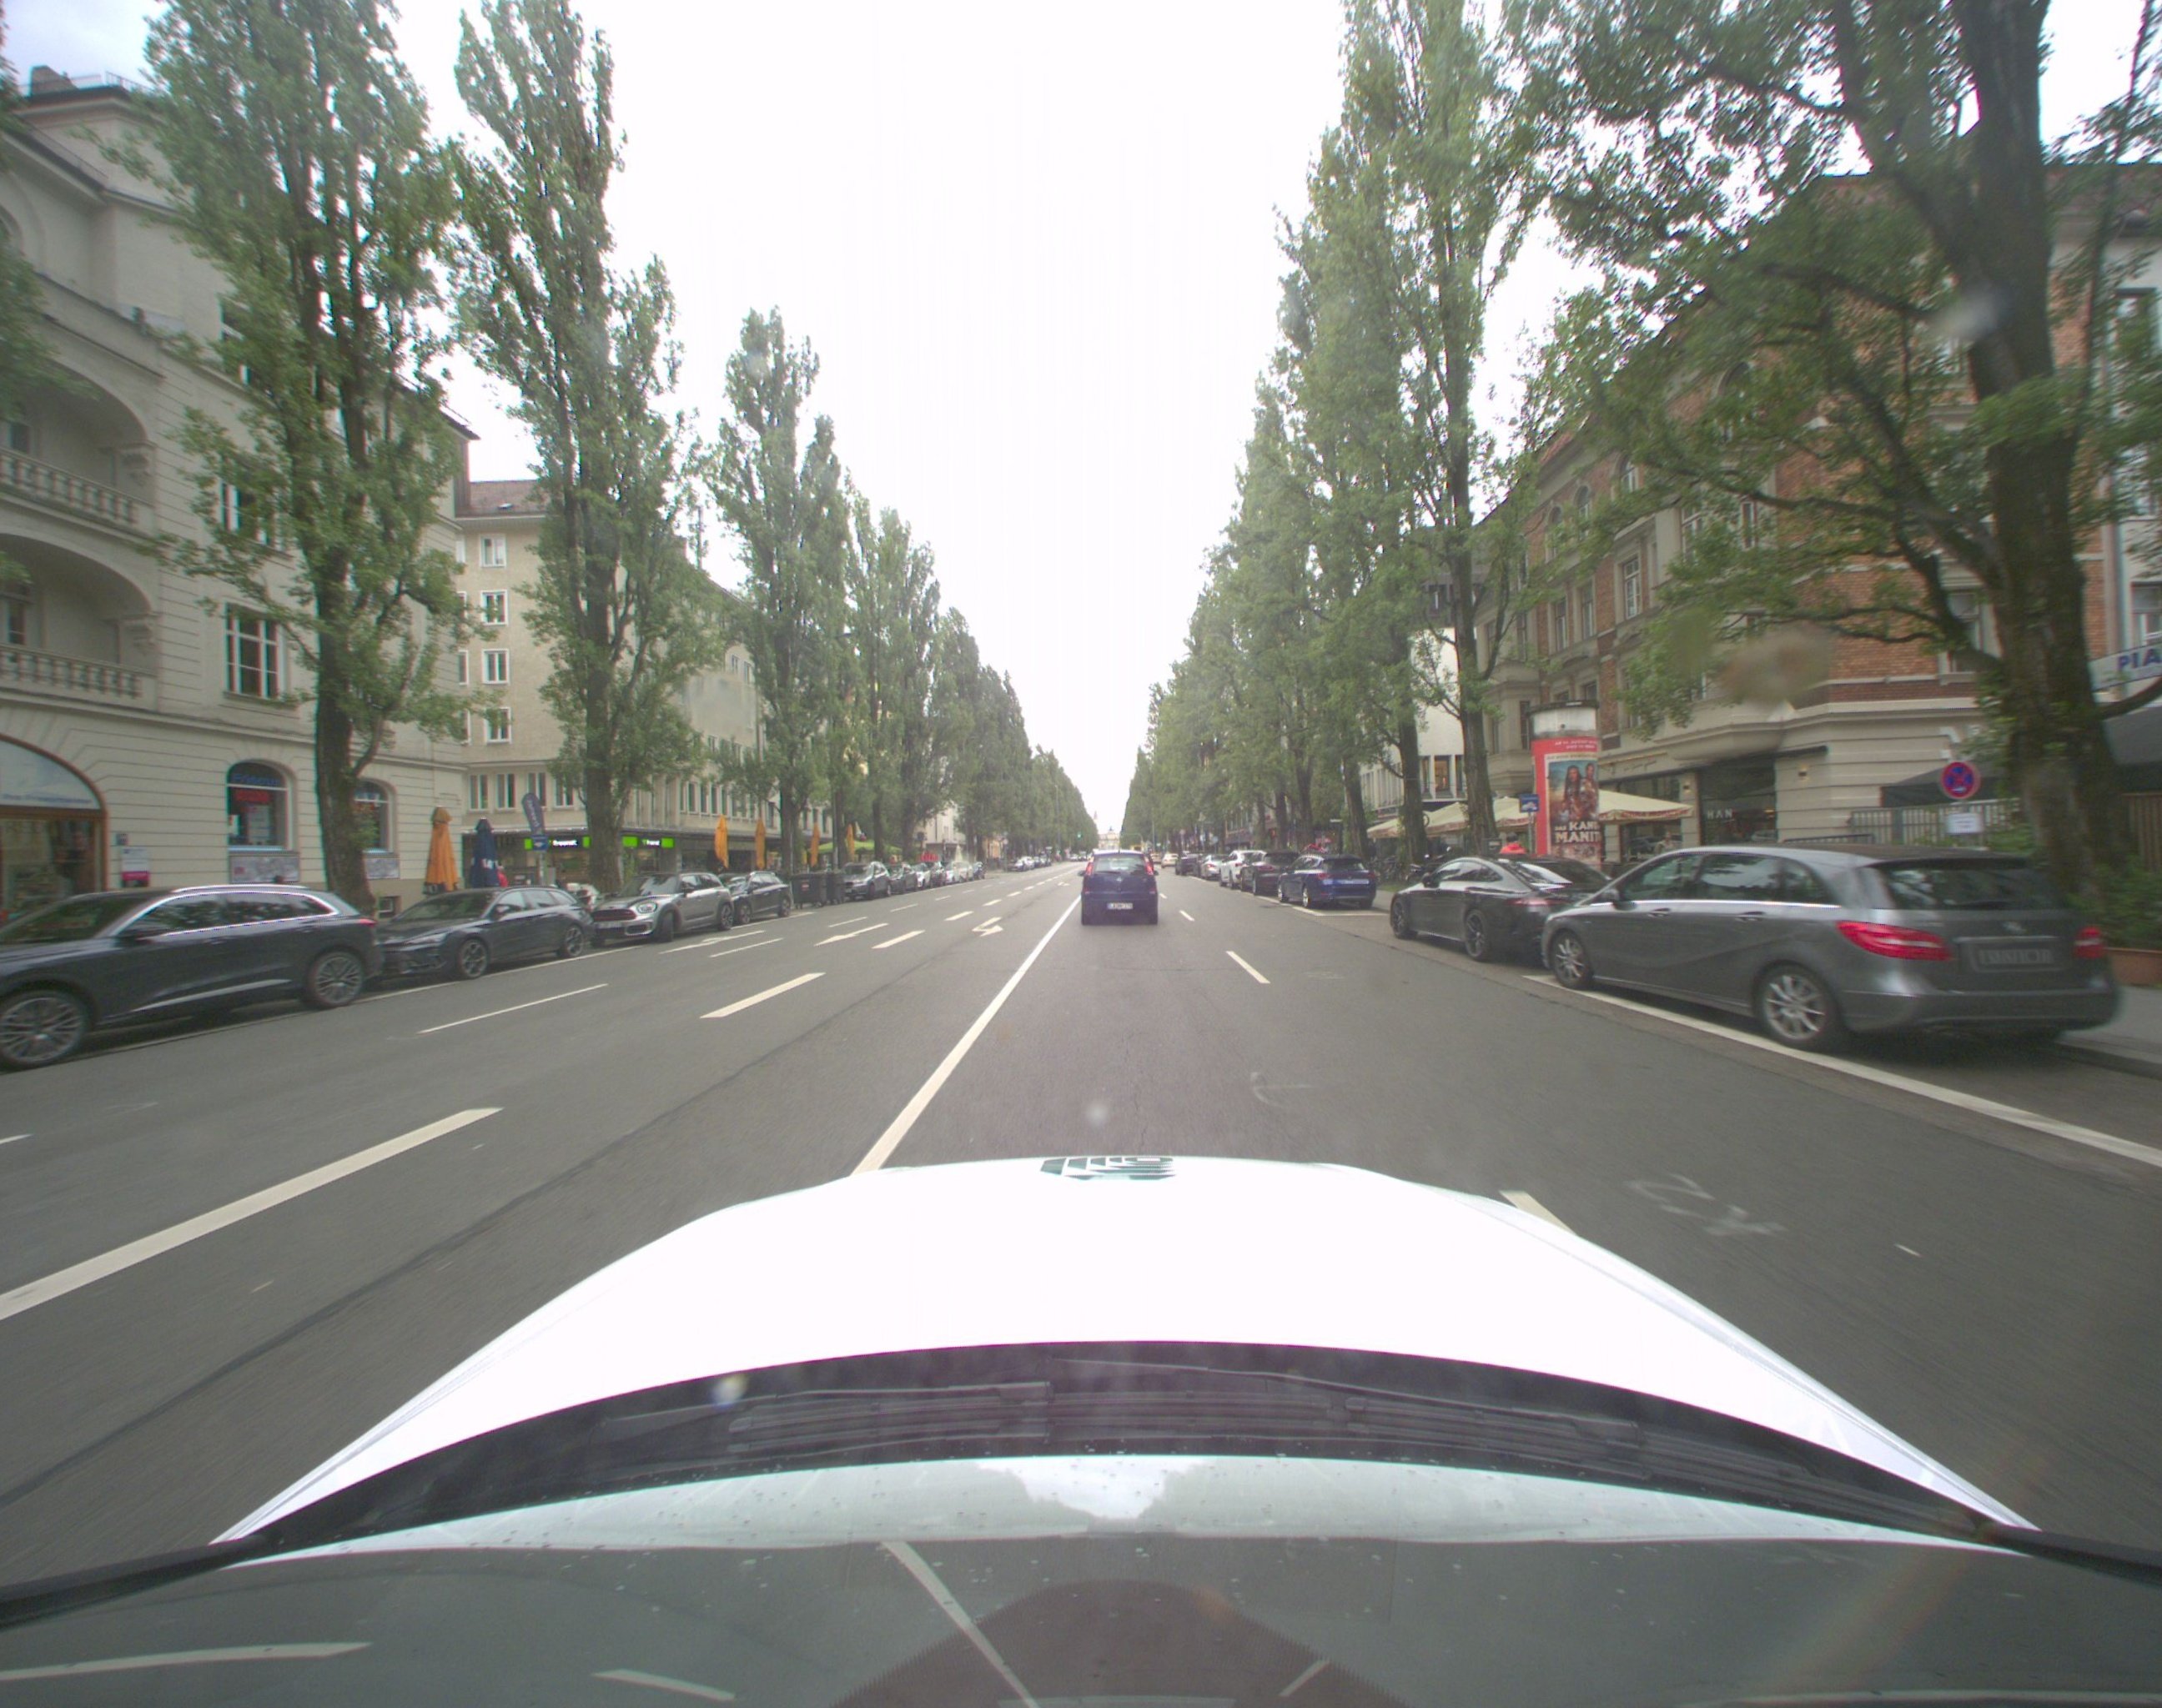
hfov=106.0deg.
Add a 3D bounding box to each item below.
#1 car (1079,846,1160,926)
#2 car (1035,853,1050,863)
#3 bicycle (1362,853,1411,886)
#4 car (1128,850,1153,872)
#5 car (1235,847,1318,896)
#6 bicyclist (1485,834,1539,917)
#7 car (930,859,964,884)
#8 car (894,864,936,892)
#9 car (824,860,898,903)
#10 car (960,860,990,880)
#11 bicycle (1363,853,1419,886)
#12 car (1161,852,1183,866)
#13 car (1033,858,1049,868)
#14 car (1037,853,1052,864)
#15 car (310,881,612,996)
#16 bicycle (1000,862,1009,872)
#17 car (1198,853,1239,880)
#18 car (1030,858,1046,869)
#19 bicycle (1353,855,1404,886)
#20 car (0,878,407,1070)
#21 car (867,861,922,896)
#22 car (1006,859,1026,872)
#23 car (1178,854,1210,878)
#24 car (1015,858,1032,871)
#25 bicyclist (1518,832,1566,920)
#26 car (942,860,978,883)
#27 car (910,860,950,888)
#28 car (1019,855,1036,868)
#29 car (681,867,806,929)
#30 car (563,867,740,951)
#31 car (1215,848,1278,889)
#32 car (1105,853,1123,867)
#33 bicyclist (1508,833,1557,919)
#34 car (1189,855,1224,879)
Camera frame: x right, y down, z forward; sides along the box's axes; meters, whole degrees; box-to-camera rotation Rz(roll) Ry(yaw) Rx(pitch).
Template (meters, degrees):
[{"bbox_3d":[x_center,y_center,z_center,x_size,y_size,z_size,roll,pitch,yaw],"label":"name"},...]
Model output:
[{"bbox_3d":[0.852,0.671,19.007,1.675,1.641,4.001,-1,0,1],"label":"car"},{"bbox_3d":[-5.807,0.611,123.812,1.954,1.549,3.780,-2,0,1],"label":"car"},{"bbox_3d":[11.672,0.577,31.163,1.707,1.192,0.420,-2,0,-3],"label":"bicycle"},{"bbox_3d":[4.381,0.536,60.537,1.700,1.574,4.001,-1,0,2],"label":"car"},{"bbox_3d":[6.962,0.574,29.517,1.986,1.565,4.485,-2,0,1],"label":"car"},{"bbox_3d":[8.592,0.417,16.256,0.619,1.588,0.753,-2,0,1],"label":"bicyclist"},{"bbox_3d":[-8.897,1.130,54.214,1.566,1.534,2.926,-2,0,4],"label":"car"},{"bbox_3d":[-9.284,1.300,45.710,1.625,1.428,2.984,-2,0,1],"label":"car"},{"bbox_3d":[-9.706,1.178,36.325,1.858,1.654,4.616,-4,0,1],"label":"car"},{"bbox_3d":[-8.216,1.201,63.446,1.579,1.447,3.395,-2,0,4],"label":"car"},{"bbox_3d":[11.670,0.574,30.640,1.865,1.192,0.575,-2,0,-3],"label":"bicycle"},{"bbox_3d":[9.156,0.481,82.023,1.890,1.362,3.902,-2,0,2],"label":"car"},{"bbox_3d":[-5.882,1.336,119.488,1.954,1.399,3.780,-2,0,1],"label":"car"},{"bbox_3d":[-5.830,0.734,130.365,1.986,1.662,4.001,-2,0,1],"label":"car"},{"bbox_3d":[-10.418,1.306,14.264,1.680,1.424,4.685,-4,0,-1],"label":"car"},{"bbox_3d":[-7.994,1.334,85.093,0.664,1.006,2.461,-2,0,-1],"label":"bicycle"},{"bbox_3d":[7.558,0.663,45.038,1.664,1.406,4.128,0,0,1],"label":"car"},{"bbox_3d":[-5.944,1.311,113.690,1.955,1.530,4.000,-2,0,1],"label":"car"},{"bbox_3d":[11.536,0.624,31.603,1.826,1.139,0.370,-2,0,-4],"label":"bicycle"},{"bbox_3d":[-10.469,1.178,9.066,1.795,1.594,4.635,-3,0,4],"label":"car"},{"bbox_3d":[-9.352,1.202,41.095,1.691,1.550,4.083,-2,0,1],"label":"car"},{"bbox_3d":[-7.224,1.262,90.743,1.823,1.420,3.813,-2,0,2],"label":"car"},{"bbox_3d":[7.598,0.775,54.963,1.790,1.594,4.107,0,0,2],"label":"car"},{"bbox_3d":[-6.812,1.193,96.971,1.541,1.453,3.459,-2,0,2],"label":"car"},{"bbox_3d":[8.563,0.410,15.139,0.619,1.588,0.391,-2,0,1],"label":"bicyclist"},{"bbox_3d":[-8.593,1.218,58.083,1.829,1.546,4.086,-2,0,0],"label":"car"},{"bbox_3d":[-9.210,1.203,49.824,1.836,1.565,4.174,-2,0,-3],"label":"car"},{"bbox_3d":[-6.692,0.937,101.829,1.648,1.562,3.459,-2,0,2],"label":"car"},{"bbox_3d":[-9.997,1.245,24.523,1.656,1.504,4.316,-4,0,3],"label":"car"},{"bbox_3d":[-9.900,1.192,19.206,1.775,1.575,4.134,-4,0,2],"label":"car"},{"bbox_3d":[6.999,0.568,34.802,1.820,1.621,4.749,-1,0,1],"label":"car"},{"bbox_3d":[3.891,0.703,96.184,1.986,1.497,4.001,-2,0,1],"label":"car"},{"bbox_3d":[8.572,0.412,15.473,0.619,1.588,0.481,-2,0,1],"label":"bicyclist"},{"bbox_3d":[7.660,0.754,49.879,1.675,1.415,3.584,0,0,1],"label":"car"}]
